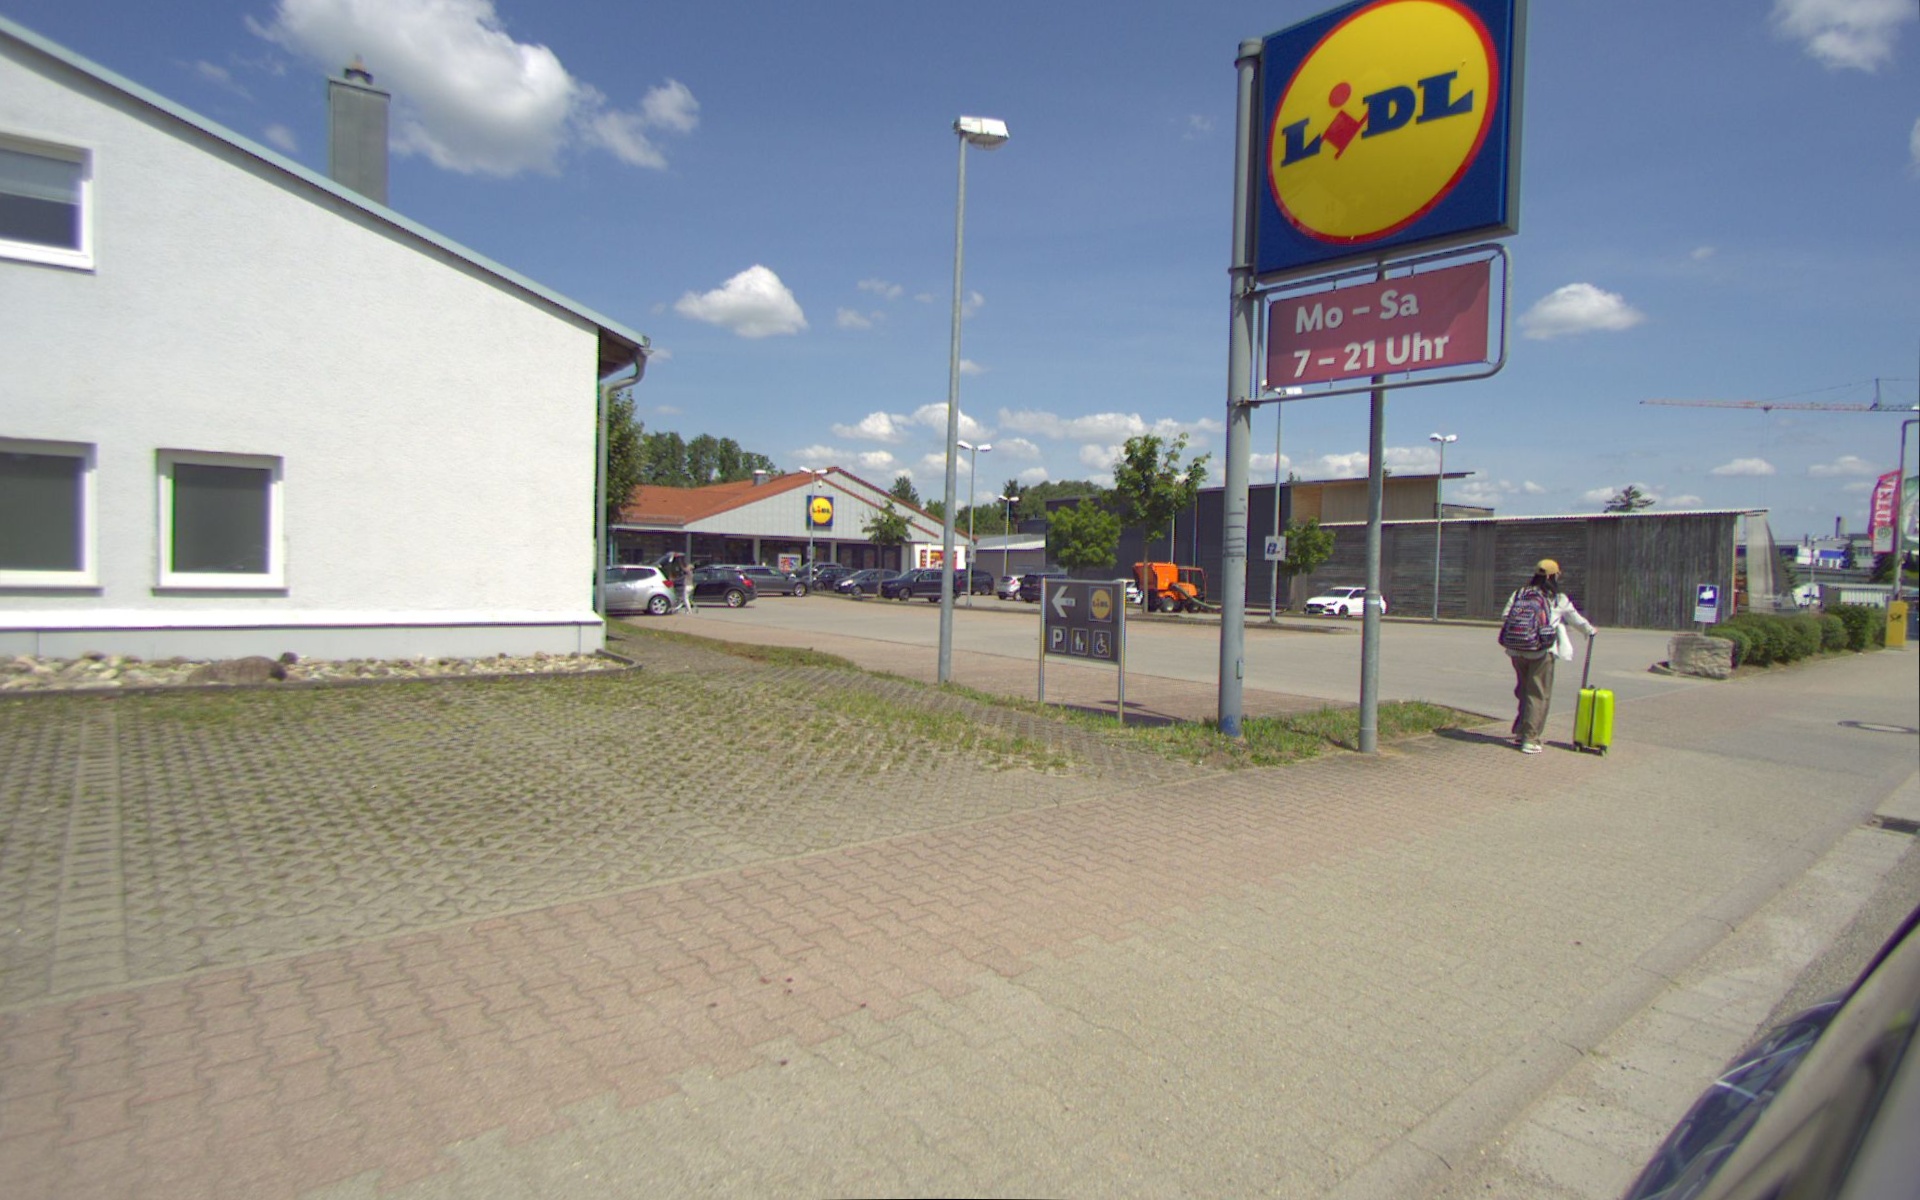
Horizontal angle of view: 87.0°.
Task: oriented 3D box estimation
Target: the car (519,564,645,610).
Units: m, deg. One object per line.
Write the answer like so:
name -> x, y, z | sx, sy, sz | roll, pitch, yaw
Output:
car -> -12.602, -0.444, 33.821 | 3.673, 1.442, 1.592 | 0, 1, -34

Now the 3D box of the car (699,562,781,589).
car -> -11.514, -1.294, 53.047 | 3.930, 1.325, 1.583 | 0, 2, -41

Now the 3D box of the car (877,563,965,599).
car -> -1.858, -0.911, 48.485 | 3.921, 1.651, 1.587 | 0, 1, -31

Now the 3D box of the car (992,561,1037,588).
car -> 3.547, -1.676, 66.046 | 2.651, 1.708, 1.300 | 0, 3, -30

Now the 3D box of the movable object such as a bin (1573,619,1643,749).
movable object such as a bin -> 5.593, 0.706, 8.728 | 0.491, 1.042, 0.374 | -1, 3, -44

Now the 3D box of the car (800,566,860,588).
car -> -7.284, -1.273, 56.653 | 2.942, 1.139, 1.583 | 0, 2, -41

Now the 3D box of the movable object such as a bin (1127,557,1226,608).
movable object such as a bin -> 10.201, -0.813, 47.532 | 4.429, 2.231, 1.688 | 1, 2, -29

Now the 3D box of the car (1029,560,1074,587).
car -> 5.737, -1.673, 63.358 | 2.622, 1.586, 1.226 | 0, 3, -36

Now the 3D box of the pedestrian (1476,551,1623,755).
pedestrian -> 5.102, 0.407, 8.746 | 1.190, 1.621, 0.762 | 0, 1, -43

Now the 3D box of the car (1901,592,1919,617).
car -> 66.980, 0.376, 68.841 | 1.771, 1.653, 4.218 | -3, 5, -43

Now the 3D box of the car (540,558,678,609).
car -> -11.116, -0.511, 32.103 | 3.823, 1.517, 1.896 | 1, 1, -32

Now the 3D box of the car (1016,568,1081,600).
car -> 4.857, -0.906, 55.633 | 3.273, 1.631, 1.514 | -2, 4, -29

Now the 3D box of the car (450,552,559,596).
car -> -19.170, -1.133, 42.622 | 3.911, 1.729, 1.896 | -2, 4, -34

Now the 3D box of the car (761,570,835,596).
car -> -9.265, -0.957, 57.957 | 3.930, 1.428, 1.583 | 0, 2, -41

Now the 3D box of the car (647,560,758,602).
car -> -9.950, -0.742, 39.346 | 3.920, 1.513, 2.003 | 1, 1, -5

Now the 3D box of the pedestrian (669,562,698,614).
pedestrian -> -9.122, -0.420, 33.365 | 0.766, 1.657, 0.733 | -1, 4, -28

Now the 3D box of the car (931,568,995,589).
car -> 0.190, -1.356, 64.836 | 3.711, 1.187, 1.618 | 1, 3, -27

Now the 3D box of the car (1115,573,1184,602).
car -> 10.754, -0.699, 57.337 | 3.927, 1.593, 1.584 | 0, 2, -38

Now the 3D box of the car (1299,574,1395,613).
car -> 17.894, -0.295, 46.791 | 4.353, 1.682, 2.001 | 1, 1, -35

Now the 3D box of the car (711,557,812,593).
car -> -9.549, -1.191, 48.868 | 4.533, 1.613, 1.585 | 0, 1, -37

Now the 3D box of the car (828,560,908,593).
car -> -4.747, -1.212, 52.481 | 3.927, 1.613, 1.584 | 0, 2, -39
